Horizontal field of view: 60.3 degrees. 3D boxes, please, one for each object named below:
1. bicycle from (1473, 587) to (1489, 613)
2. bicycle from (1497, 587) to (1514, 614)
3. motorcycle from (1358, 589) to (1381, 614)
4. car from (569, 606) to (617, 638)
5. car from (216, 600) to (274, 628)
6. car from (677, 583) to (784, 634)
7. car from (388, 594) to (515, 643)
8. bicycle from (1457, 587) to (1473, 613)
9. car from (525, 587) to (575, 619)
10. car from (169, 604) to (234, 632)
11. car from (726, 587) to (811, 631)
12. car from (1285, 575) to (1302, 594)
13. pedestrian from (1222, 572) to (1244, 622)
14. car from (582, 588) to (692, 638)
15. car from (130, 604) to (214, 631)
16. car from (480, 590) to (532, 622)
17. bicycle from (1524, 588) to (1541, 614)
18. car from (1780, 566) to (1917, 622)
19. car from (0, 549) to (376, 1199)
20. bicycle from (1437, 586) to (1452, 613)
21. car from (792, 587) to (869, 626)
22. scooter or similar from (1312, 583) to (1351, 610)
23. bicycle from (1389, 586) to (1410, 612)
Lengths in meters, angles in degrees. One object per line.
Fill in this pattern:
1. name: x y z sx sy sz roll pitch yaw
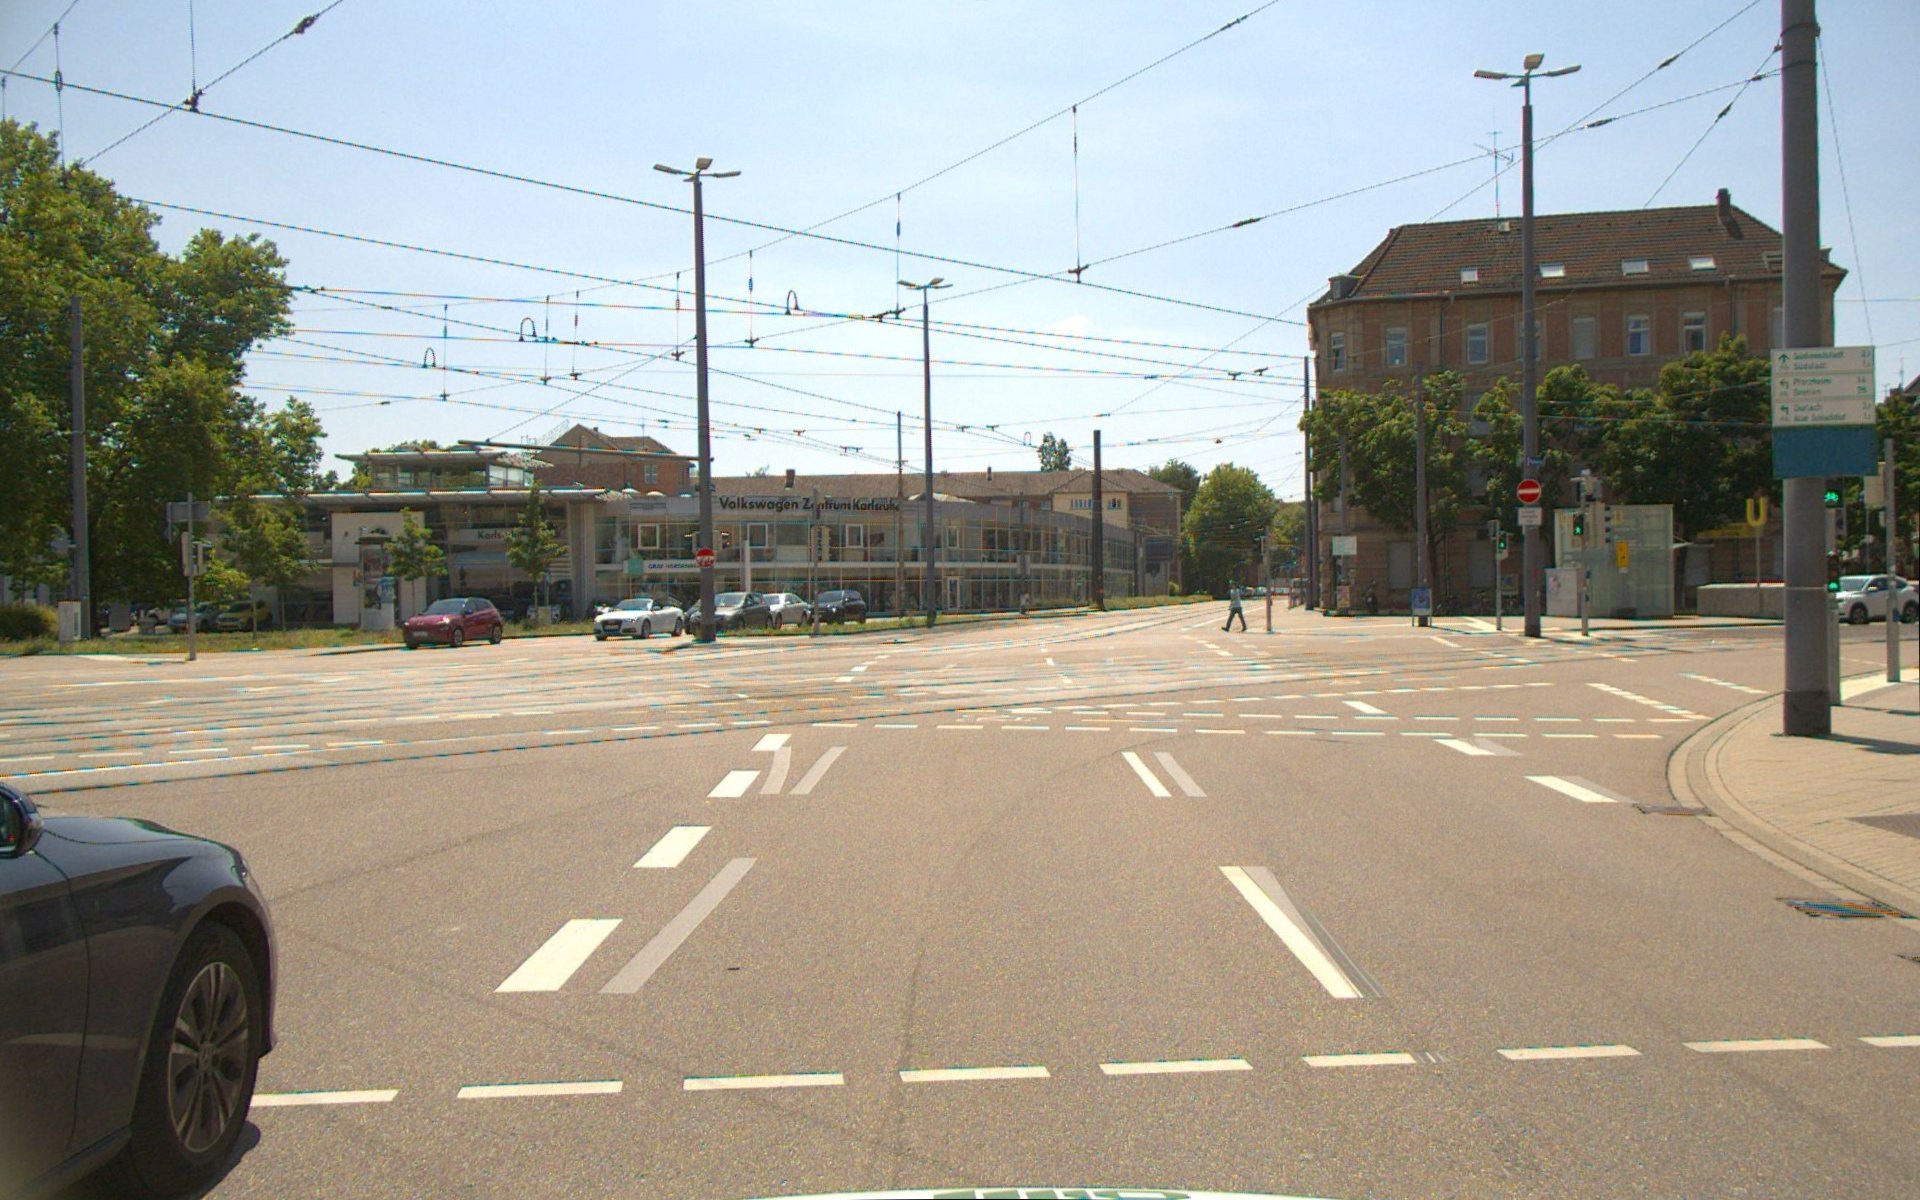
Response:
1. bicycle: 22.915 -0.002 72.813 0.539 1.139 1.891 -1 0 14
2. bicycle: 24.114 0.021 73.133 0.539 1.139 1.872 -1 0 14
3. motorcycle: 18.117 0.063 73.198 0.568 1.093 1.946 -1 0 2
4. car: -20.660 1.250 93.277 1.882 1.737 3.999 1 -1 -1
5. car: -40.379 0.774 93.494 1.733 1.536 4.321 -1 0 -6
6. car: -7.962 0.256 57.834 1.951 1.666 4.850 -1 0 15
7. car: -16.849 0.585 55.077 1.951 1.491 4.850 -1 0 12
8. bicycle: 22.207 -0.013 72.751 0.539 1.139 1.822 -1 0 14
9. car: -23.054 0.205 93.163 1.882 1.737 3.999 1 -1 -1
10. car: -42.983 1.001 93.834 1.731 1.536 4.326 -1 0 -1
11. car: -8.011 0.356 69.606 1.951 1.770 4.547 -1 0 15
12. car: 40.638 -1.901 201.425 1.951 2.219 4.372 1 -1 13
13. pedestrian: 9.571 -0.122 57.979 0.456 1.738 0.633 -1 0 -30
14. car: -11.136 0.419 57.415 2.032 1.608 4.850 -1 0 12
15. car: -47.179 1.038 99.071 4.281 1.536 1.749 -1 0 -37
16. car: -25.450 0.363 92.817 1.882 1.737 3.999 1 -1 -1
17. bicycle: 25.296 0.039 73.118 0.539 1.139 1.931 -1 0 14
18. car: 27.707 -0.201 51.562 4.128 1.633 1.680 -1 0 -26
19. car: -2.668 0.733 2.515 1.760 1.669 4.805 1 0 1
20. bicycle: 21.374 -0.024 72.979 0.539 1.139 1.822 -1 0 14
21. car: -5.926 0.275 76.536 2.034 1.712 4.850 -1 0 15
22. scooter or similar: 17.096 -0.168 76.088 1.765 1.202 0.594 -1 0 -27
23. bicycle: 19.433 -0.053 73.174 0.539 1.139 1.821 -1 0 5
